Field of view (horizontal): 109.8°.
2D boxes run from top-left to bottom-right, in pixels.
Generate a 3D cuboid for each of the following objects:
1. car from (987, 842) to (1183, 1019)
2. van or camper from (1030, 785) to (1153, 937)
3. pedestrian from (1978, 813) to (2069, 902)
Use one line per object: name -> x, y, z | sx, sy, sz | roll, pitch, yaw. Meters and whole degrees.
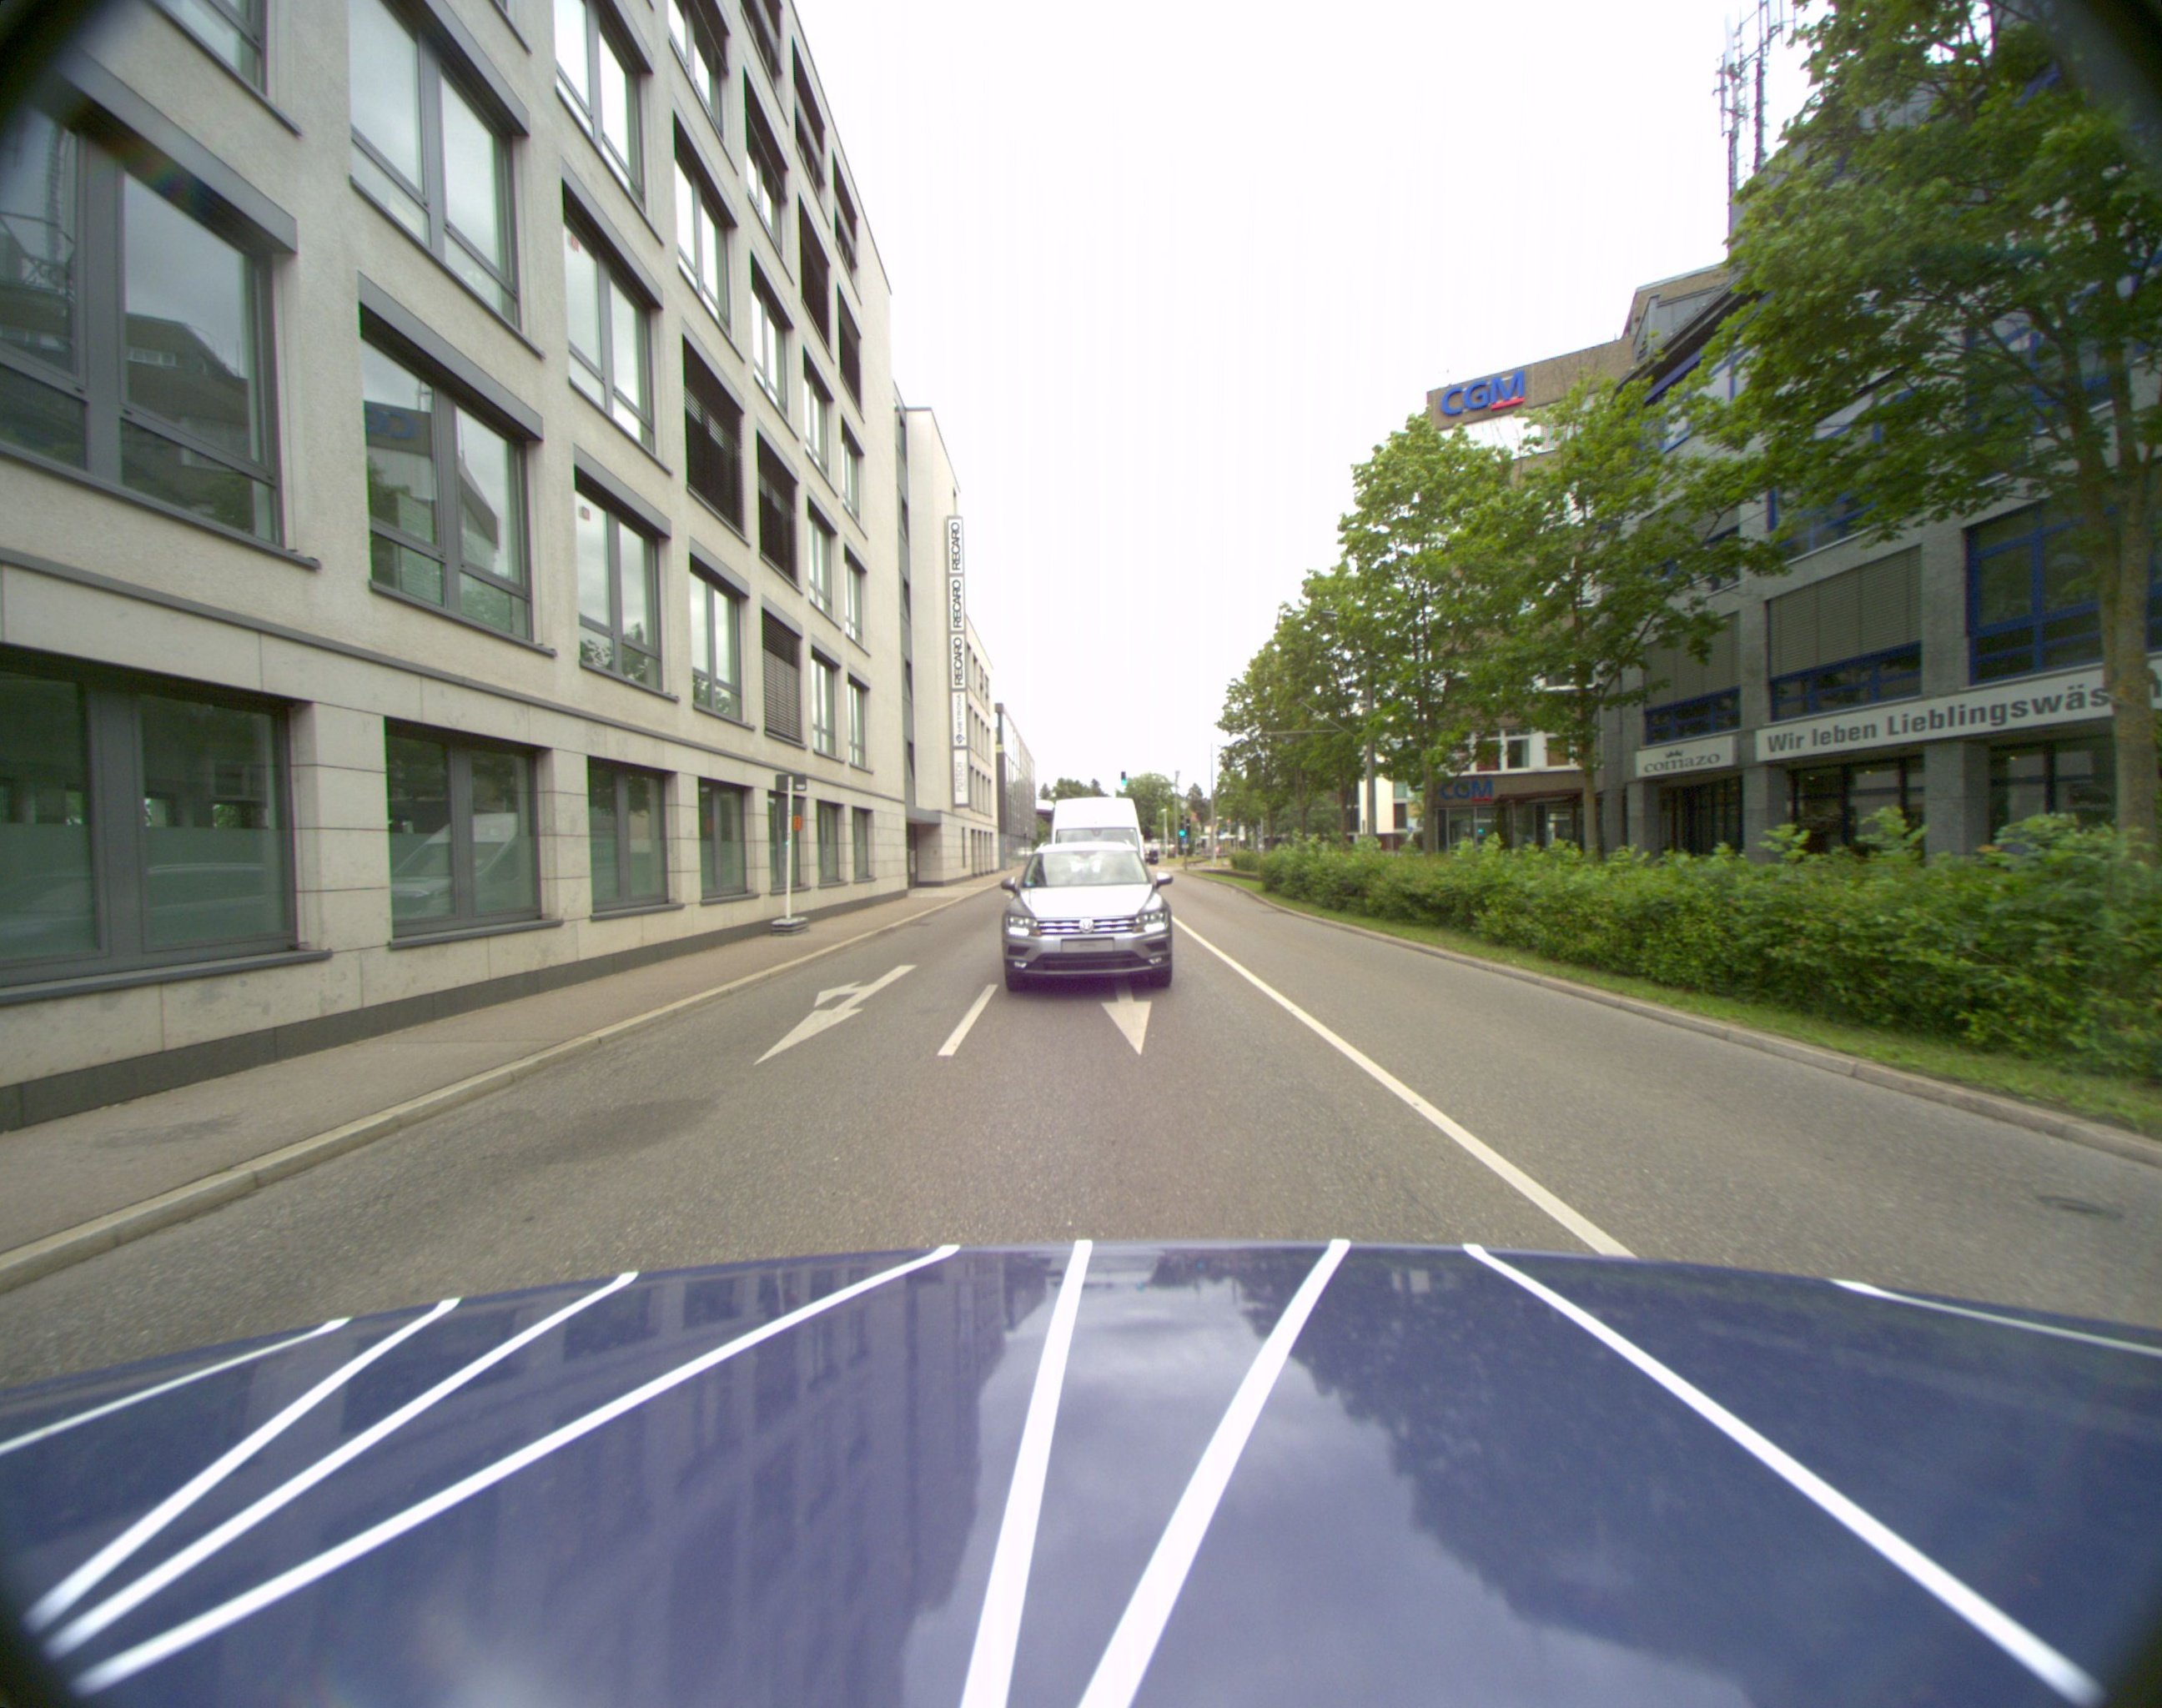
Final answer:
car -> 0.072, 0.728, 9.606 | 1.833, 1.636, 4.326 | -3, 1, 1
van or camper -> 0.242, 0.096, 17.128 | 2.110, 2.675, 6.298 | -3, 1, 1
pedestrian -> 16.456, 0.054, 13.282 | 0.699, 1.474, 0.679 | -3, 1, 1
